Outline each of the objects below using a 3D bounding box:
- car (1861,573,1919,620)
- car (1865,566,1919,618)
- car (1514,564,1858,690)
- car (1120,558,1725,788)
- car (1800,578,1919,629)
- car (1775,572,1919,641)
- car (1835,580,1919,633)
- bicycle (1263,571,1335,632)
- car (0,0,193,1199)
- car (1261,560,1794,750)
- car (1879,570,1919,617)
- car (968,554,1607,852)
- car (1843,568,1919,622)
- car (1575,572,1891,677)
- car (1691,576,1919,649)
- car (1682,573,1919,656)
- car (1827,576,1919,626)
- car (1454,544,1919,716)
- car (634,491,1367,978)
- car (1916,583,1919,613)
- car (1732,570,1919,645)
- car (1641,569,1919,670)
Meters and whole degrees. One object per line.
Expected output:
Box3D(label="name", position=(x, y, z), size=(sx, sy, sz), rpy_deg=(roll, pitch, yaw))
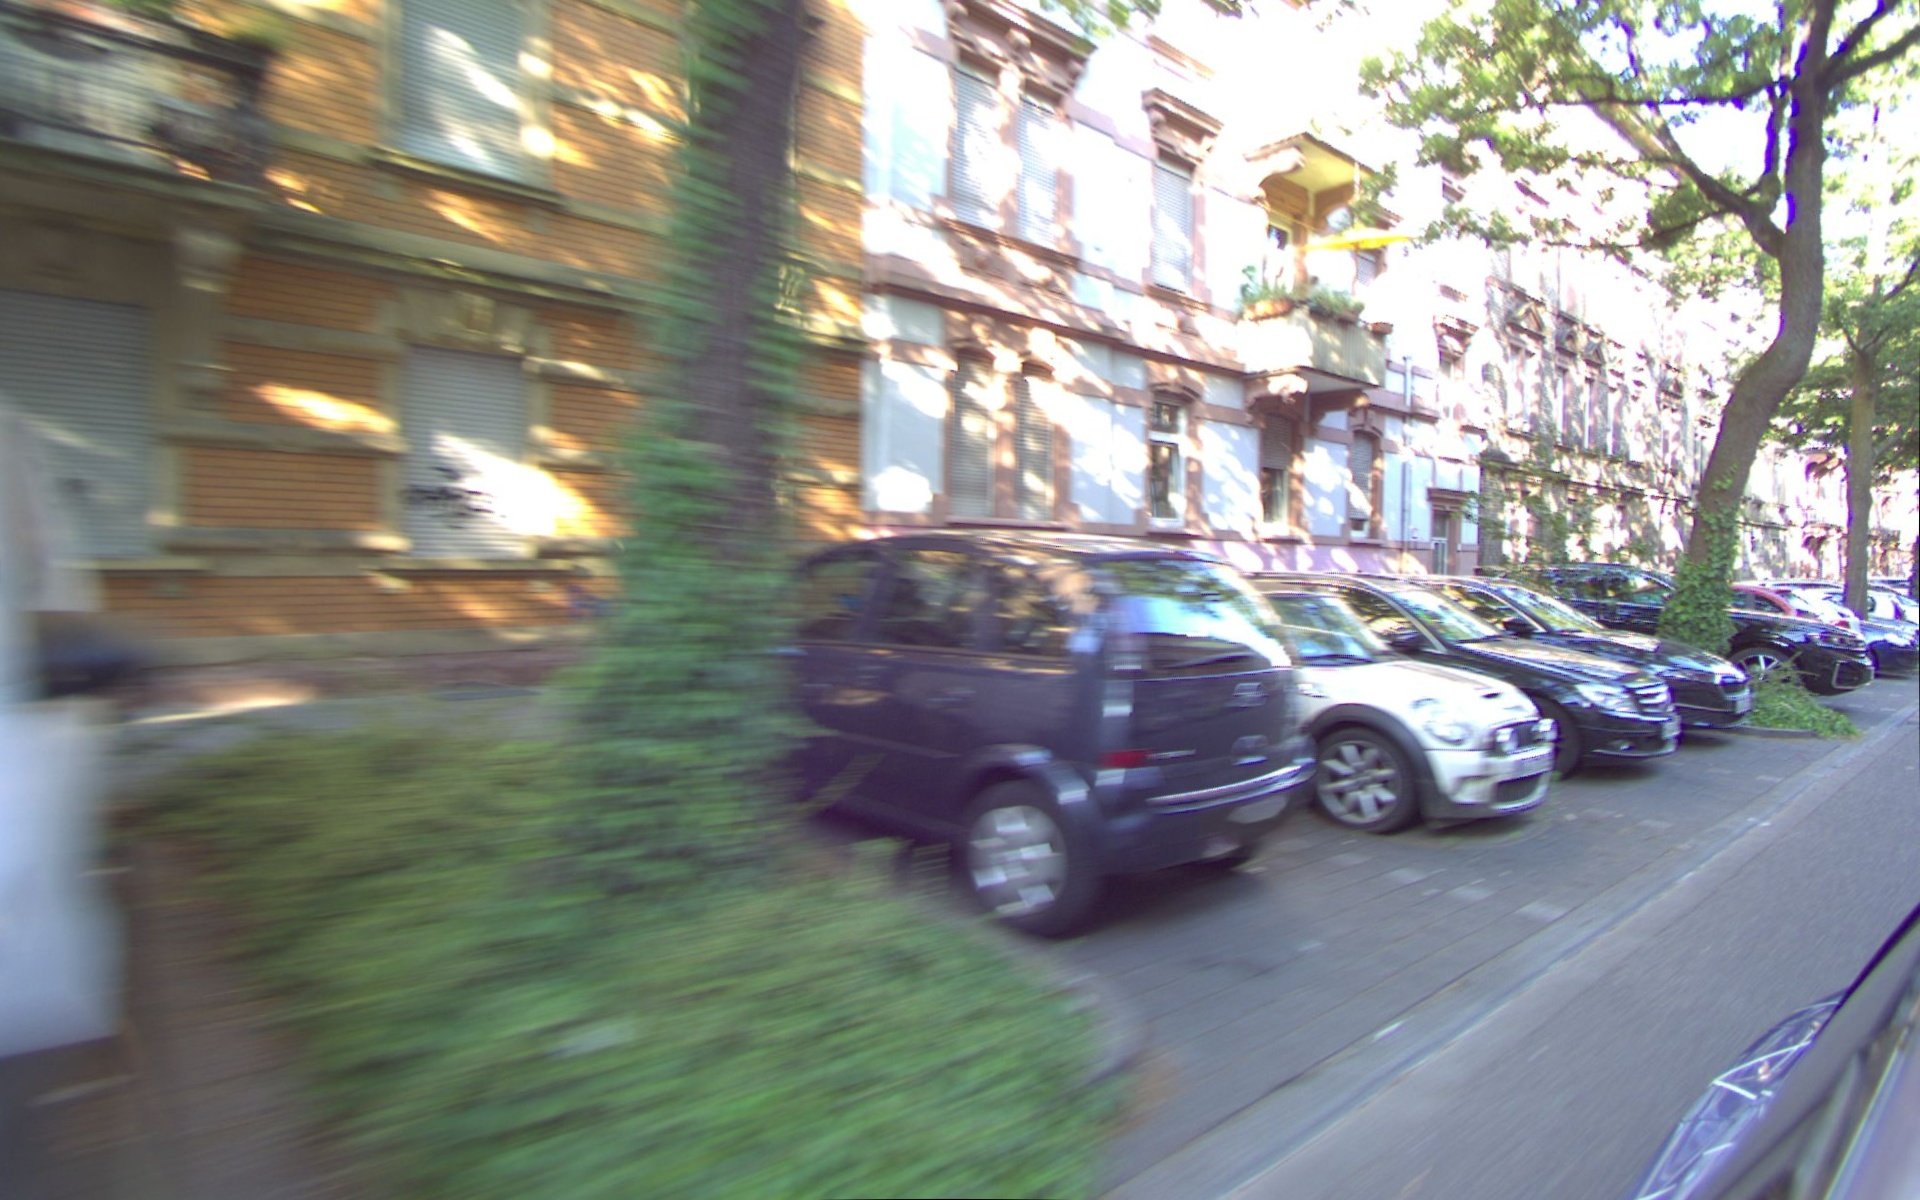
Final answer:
Box3D(label="car", position=(36.898, -0.021, 37.578), size=(2.044, 1.651, 4.927), rpy_deg=(0, 5, -44))
Box3D(label="car", position=(39.087, -0.207, 39.847), size=(2.140, 1.924, 4.927), rpy_deg=(0, 5, -44))
Box3D(label="car", position=(10.933, 0.297, 15.439), size=(1.753, 1.609, 3.991), rpy_deg=(0, 3, -44))
Box3D(label="car", position=(3.888, 0.416, 9.266), size=(1.898, 1.521, 4.669), rpy_deg=(0, 2, -41))
Box3D(label="car", position=(29.265, 0.101, 32.008), size=(1.659, 1.513, 3.991), rpy_deg=(0, 2, -43))
Box3D(label="car", position=(24.446, 0.133, 26.558), size=(1.858, 1.676, 4.487), rpy_deg=(-2, 3, -39))
Box3D(label="car", position=(28.210, 0.199, 29.390), size=(1.657, 1.474, 3.996), rpy_deg=(0, 2, -40))
Box3D(label="bicycle", position=(6.139, 0.018, 18.283), size=(1.673, 1.063, 0.325), rpy_deg=(0, 2, -38))
Box3D(label="car", position=(-3.309, 0.275, 2.358), size=(2.122, 1.962, 5.103), rpy_deg=(-5, 5, -40))
Box3D(label="car", position=(5.762, 0.382, 10.825), size=(1.964, 1.548, 4.564), rpy_deg=(0, 2, -39))
Box3D(label="car", position=(41.709, -0.176, 42.158), size=(4.636, 1.913, 1.890), rpy_deg=(4, 3, 28))
Box3D(label="car", position=(2.066, 0.457, 7.385), size=(1.779, 1.521, 4.115), rpy_deg=(0, 2, -39))
Box3D(label="car", position=(33.527, -0.154, 35.068), size=(1.910, 1.810, 4.136), rpy_deg=(0, 2, -39))
Box3D(label="car", position=(12.904, 0.315, 17.059), size=(1.753, 1.480, 3.991), rpy_deg=(0, 3, -44))
Box3D(label="car", position=(19.847, 0.238, 23.697), size=(1.769, 1.488, 4.110), rpy_deg=(0, 2, -39))
Box3D(label="car", position=(18.181, 0.243, 21.611), size=(1.771, 1.555, 4.227), rpy_deg=(0, 2, -43))
Box3D(label="car", position=(31.409, 0.077, 33.268), size=(1.903, 1.472, 4.153), rpy_deg=(0, 4, -41))
Box3D(label="car", position=(9.302, 0.227, 13.297), size=(1.851, 1.723, 4.650), rpy_deg=(0, 4, -44))
Box3D(label="car", position=(-0.092, 0.379, 5.474), size=(1.696, 1.669, 3.889), rpy_deg=(0, 2, -43))
Box3D(label="car", position=(46.417, 0.070, 45.690), size=(1.869, 1.384, 4.471), rpy_deg=(0, 4, -39))
Box3D(label="car", position=(22.124, 0.125, 25.089), size=(1.859, 1.676, 4.483), rpy_deg=(-2, 3, -42))
Box3D(label="car", position=(15.120, 0.269, 18.564), size=(1.649, 1.404, 3.996), rpy_deg=(0, 5, -41))
